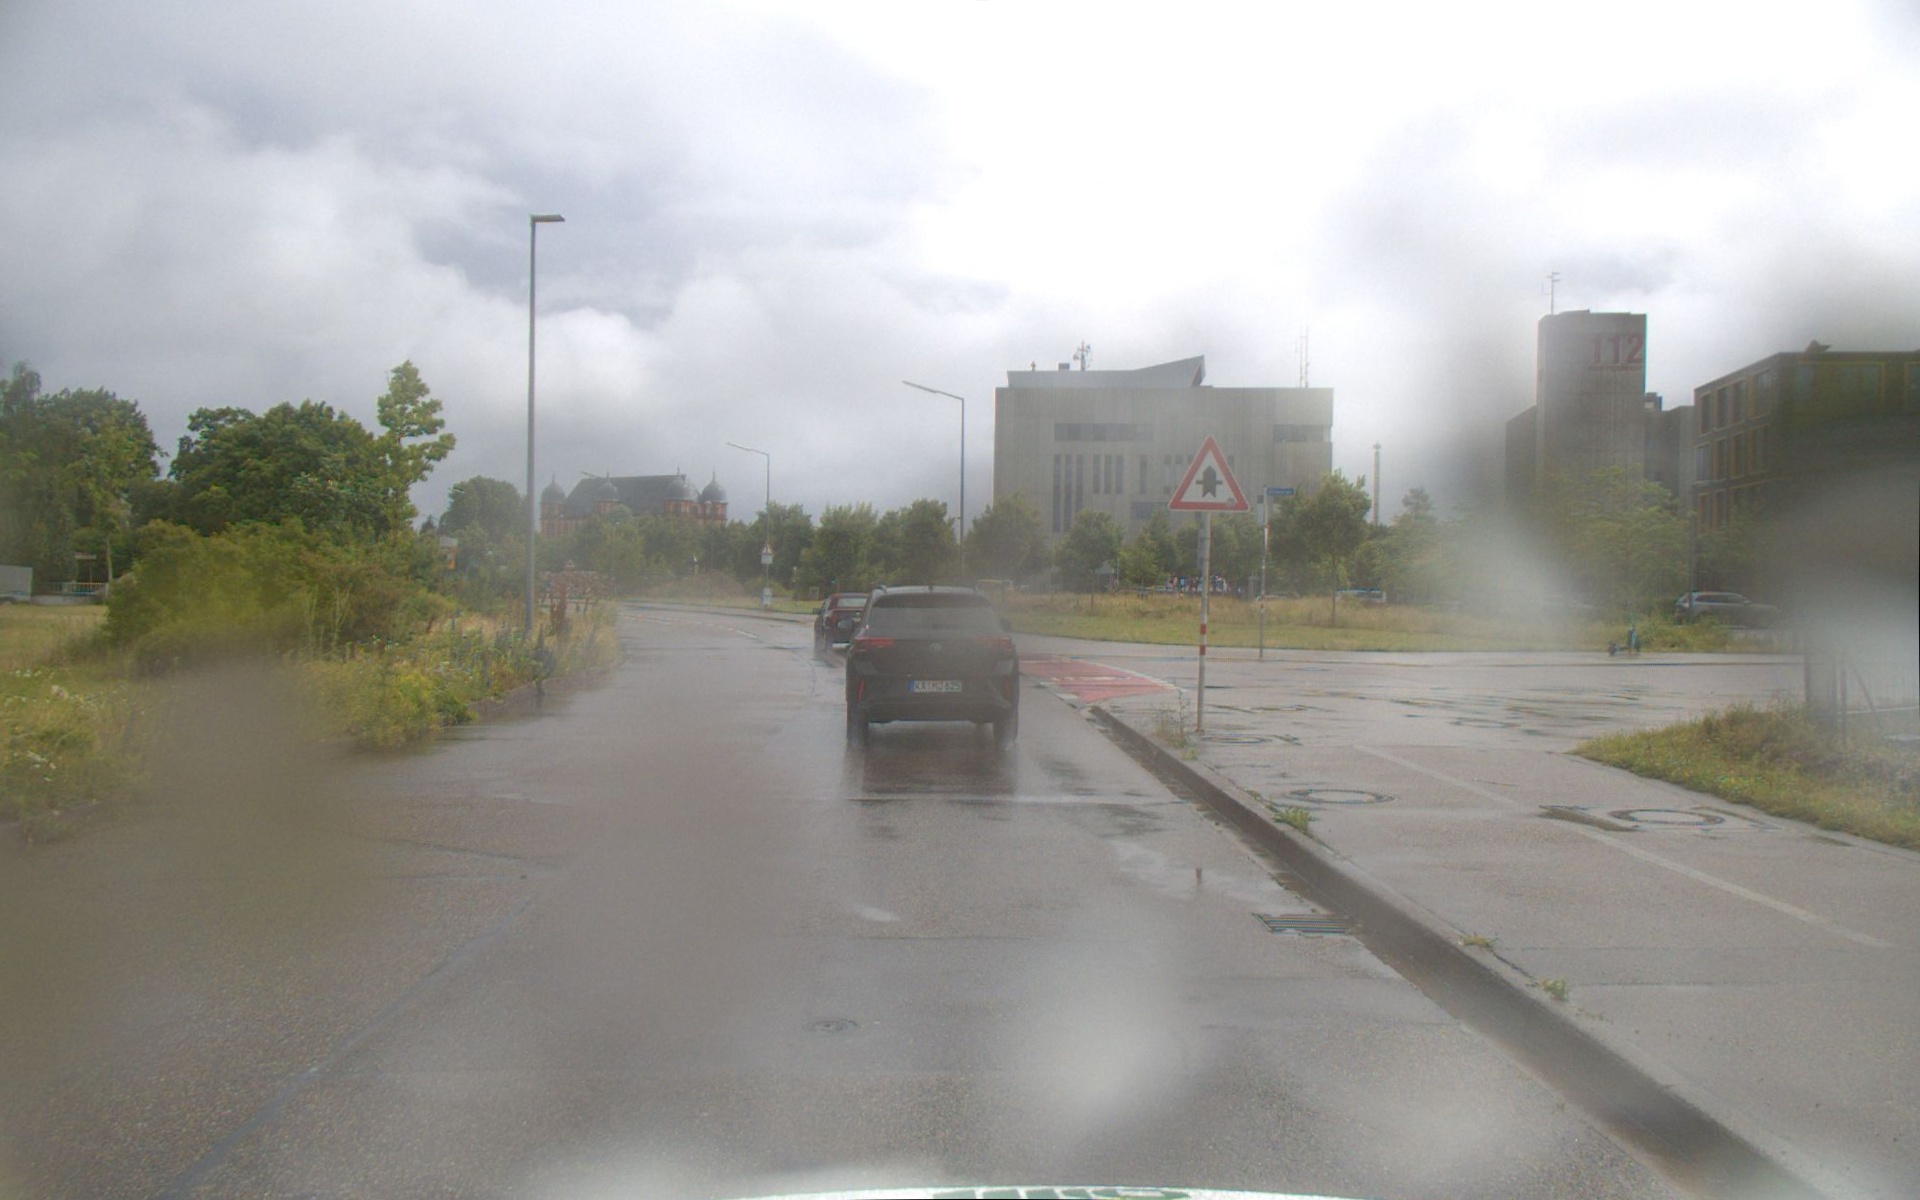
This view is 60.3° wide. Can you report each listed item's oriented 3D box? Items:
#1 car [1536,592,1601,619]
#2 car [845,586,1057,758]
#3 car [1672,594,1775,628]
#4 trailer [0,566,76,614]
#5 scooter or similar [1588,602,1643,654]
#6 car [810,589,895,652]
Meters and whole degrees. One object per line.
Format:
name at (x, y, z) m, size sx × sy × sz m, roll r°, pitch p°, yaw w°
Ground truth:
car at (41.556, 0.373, 112.979) m, size 3.902 × 1.751 × 1.771 m, roll 1°, pitch 0°, yaw 12°
car at (-0.221, 0.669, 17.799) m, size 1.948 × 1.546 × 3.996 m, roll -2°, pitch 1°, yaw -5°
car at (35.999, 0.514, 78.086) m, size 4.115 × 1.585 × 1.668 m, roll 0°, pitch 0°, yaw 12°
trailer at (-44.129, -0.493, 78.023) m, size 4.062 × 2.126 × 1.824 m, roll 2°, pitch -1°, yaw -33°
scooter or similar at (16.109, 0.677, 40.641) m, size 1.262 × 1.208 × 0.500 m, roll -1°, pitch 2°, yaw -22°
car at (-2.807, 0.485, 42.559) m, size 1.807 × 1.467 × 3.992 m, roll -2°, pitch 1°, yaw -9°
